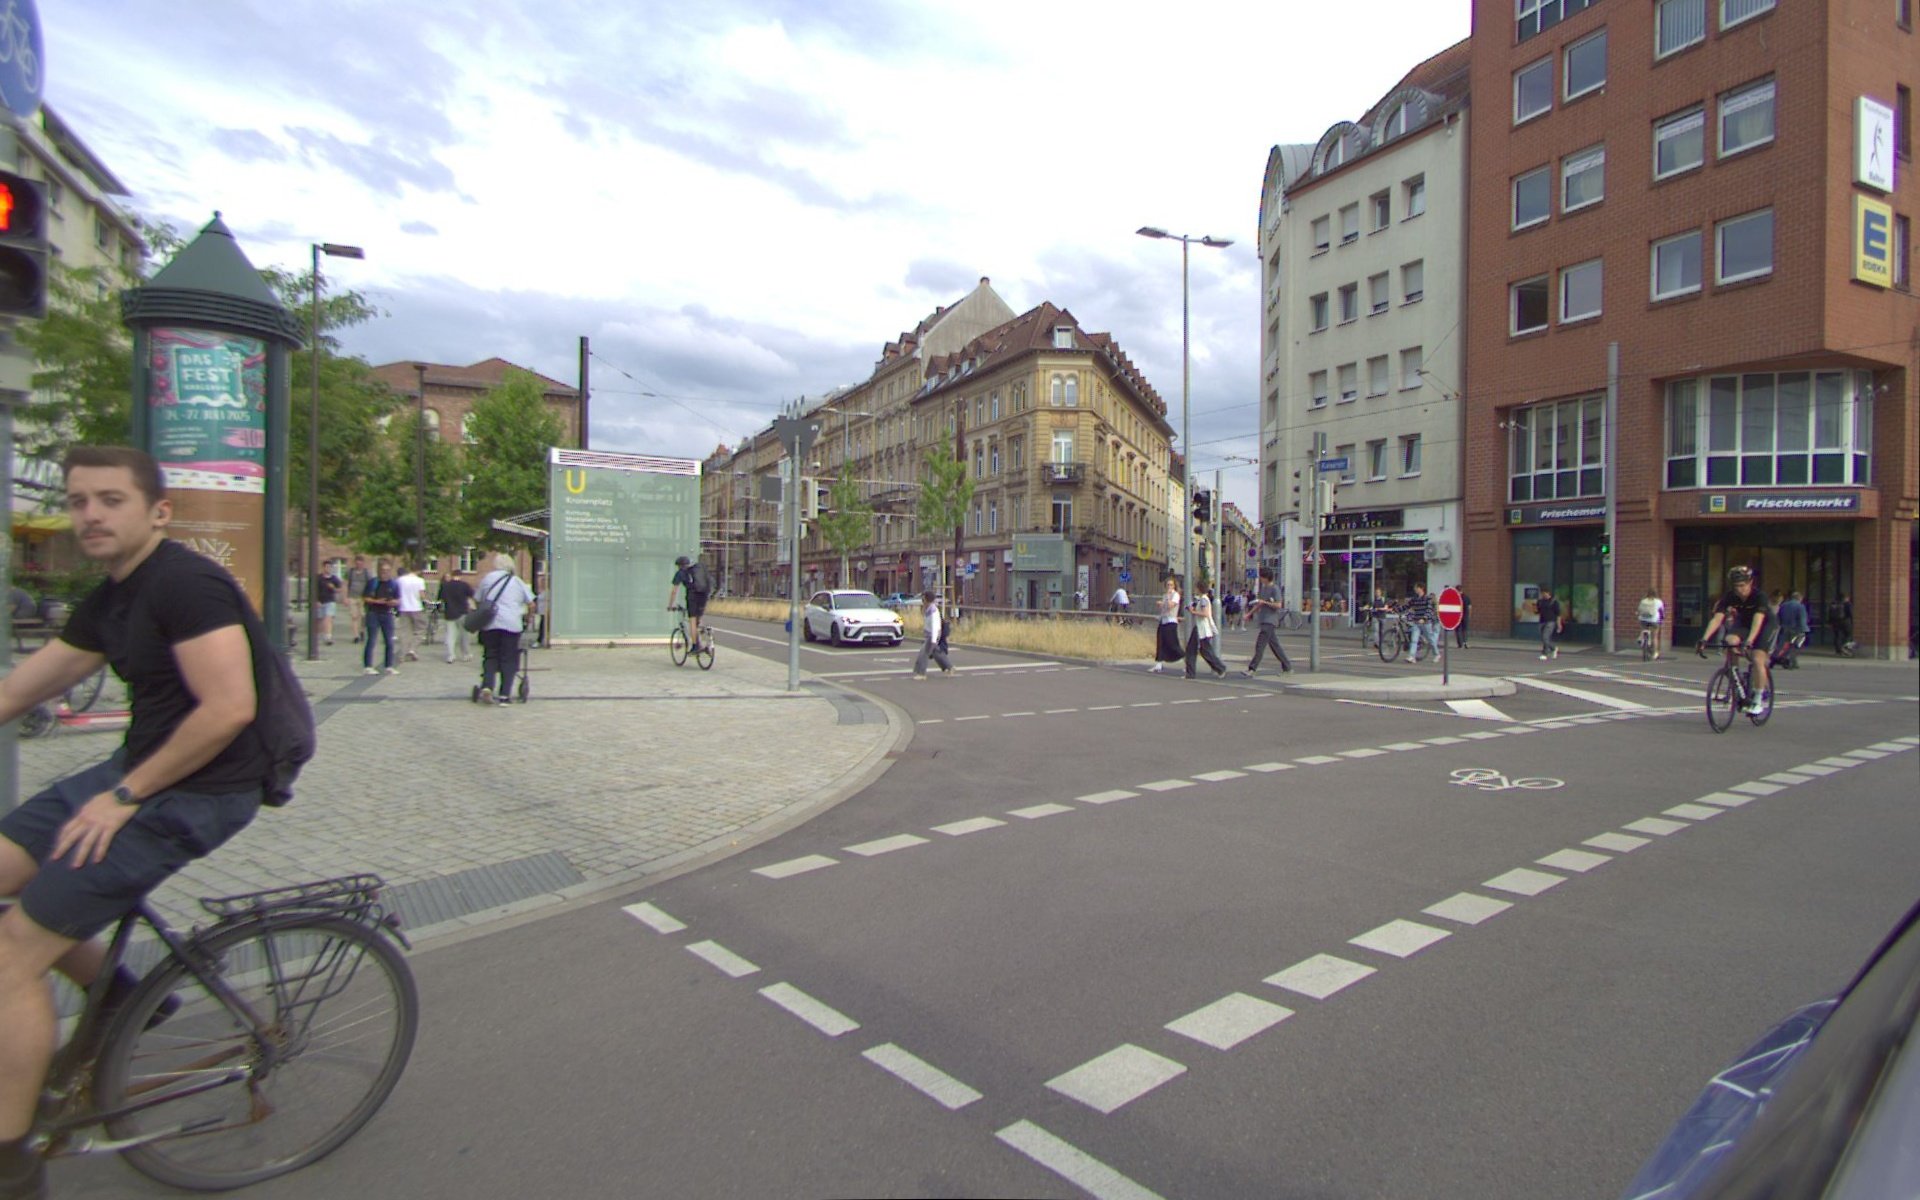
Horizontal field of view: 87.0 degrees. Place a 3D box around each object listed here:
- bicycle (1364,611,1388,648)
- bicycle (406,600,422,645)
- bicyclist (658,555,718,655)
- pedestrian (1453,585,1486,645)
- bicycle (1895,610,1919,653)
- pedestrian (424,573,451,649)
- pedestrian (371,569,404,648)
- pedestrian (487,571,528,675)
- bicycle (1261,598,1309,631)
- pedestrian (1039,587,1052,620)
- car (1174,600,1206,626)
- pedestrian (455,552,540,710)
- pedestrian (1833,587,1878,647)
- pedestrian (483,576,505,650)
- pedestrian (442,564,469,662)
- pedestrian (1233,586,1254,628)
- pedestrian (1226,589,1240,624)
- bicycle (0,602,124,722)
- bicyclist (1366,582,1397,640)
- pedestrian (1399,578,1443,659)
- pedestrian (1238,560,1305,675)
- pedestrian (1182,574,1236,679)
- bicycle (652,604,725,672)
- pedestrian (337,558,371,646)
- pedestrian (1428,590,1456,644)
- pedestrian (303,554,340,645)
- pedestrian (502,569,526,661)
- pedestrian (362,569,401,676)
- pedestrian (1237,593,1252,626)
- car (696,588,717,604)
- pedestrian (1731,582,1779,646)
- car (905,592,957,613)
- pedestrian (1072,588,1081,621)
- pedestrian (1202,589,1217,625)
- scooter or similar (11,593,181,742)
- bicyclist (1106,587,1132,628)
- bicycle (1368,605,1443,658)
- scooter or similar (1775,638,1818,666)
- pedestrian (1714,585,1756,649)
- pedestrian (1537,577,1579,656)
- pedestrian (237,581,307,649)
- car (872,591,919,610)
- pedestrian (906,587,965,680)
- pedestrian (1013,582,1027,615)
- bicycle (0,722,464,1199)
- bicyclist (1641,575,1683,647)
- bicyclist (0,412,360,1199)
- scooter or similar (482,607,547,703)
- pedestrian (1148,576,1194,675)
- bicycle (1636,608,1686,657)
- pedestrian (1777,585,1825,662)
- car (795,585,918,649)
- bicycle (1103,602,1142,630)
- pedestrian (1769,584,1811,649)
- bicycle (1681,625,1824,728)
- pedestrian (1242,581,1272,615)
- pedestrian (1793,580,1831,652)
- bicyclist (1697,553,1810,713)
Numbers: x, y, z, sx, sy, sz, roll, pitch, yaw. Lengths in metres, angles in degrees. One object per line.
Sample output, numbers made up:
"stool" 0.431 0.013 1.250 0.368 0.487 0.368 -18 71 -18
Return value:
"bicycle" 11.628 0.812 28.264 0.537 0.962 1.791 0 0 26
"bicycle" -12.510 0.506 23.174 0.284 1.009 1.141 0 0 -30
"bicyclist" -4.867 0.088 18.104 0.688 1.731 0.905 1 0 -44
"pedestrian" 14.501 0.417 28.816 0.696 1.669 0.718 0 -1 13
"bicycle" 26.332 0.845 27.618 1.663 1.105 0.568 -1 3 -25
"pedestrian" -12.069 0.243 23.367 0.469 1.726 0.640 2 -1 -29
"pedestrian" -12.814 0.185 22.663 0.573 1.726 0.640 2 -1 -29
"pedestrian" -7.673 0.384 17.159 0.614 1.702 0.807 0 -2 -26
"bicycle" 12.686 0.556 39.549 0.532 1.219 1.807 1 0 -34
"pedestrian" 4.435 0.198 52.277 0.504 1.706 0.425 1 0 -24
"car" 14.864 0.804 65.297 1.674 1.606 3.638 0 0 18
"pedestrian" -5.382 0.347 11.818 0.671 1.762 0.940 1 0 -11
"pedestrian" 24.672 0.459 27.888 0.903 1.621 0.621 1 0 -25
"pedestrian" -10.626 0.288 23.063 0.430 1.662 0.679 1 0 -25
"pedestrian" -9.322 0.233 18.705 0.406 1.759 0.702 1 0 -25
"pedestrian" 11.376 0.265 40.635 0.705 1.648 0.791 1 0 8
"pedestrian" 13.489 0.312 49.998 0.530 1.744 0.520 0 0 -4
"bicycle" -9.415 0.580 10.194 2.423 1.026 0.540 2 1 25
"bicyclist" 11.794 0.297 28.295 0.739 1.578 0.937 0 0 26
"pedestrian" 9.895 0.388 21.716 0.711 1.707 0.522 1 0 -24
"pedestrian" 5.248 0.292 17.046 0.859 1.878 0.642 1 -1 -25
"pedestrian" 4.153 0.434 16.878 0.780 1.707 0.470 0 0 -30
"bicycle" -4.890 0.649 18.126 0.385 1.136 1.915 1 0 -44
"pedestrian" -13.241 0.047 22.122 0.573 1.891 0.491 2 -1 -29
"pedestrian" 13.875 0.491 29.147 0.584 1.530 0.627 0 -1 13
"pedestrian" -13.499 0.000 21.405 0.573 1.891 0.549 2 -1 -29
"pedestrian" -8.703 0.281 19.758 0.406 1.759 0.596 1 0 -25
"pedestrian" -8.935 0.334 15.643 0.406 1.596 0.823 1 0 -23
"pedestrian" 14.094 0.469 50.090 0.572 1.657 0.545 0 0 -4
"car" -32.114 -0.501 128.132 1.958 1.928 4.005 0 -2 -24
"pedestrian" 22.149 0.377 28.204 1.034 1.736 0.650 0 0 -25
"car" -1.875 0.135 63.878 1.799 1.282 4.161 0 0 -25
"pedestrian" 6.099 0.230 53.106 0.417 1.706 0.514 1 0 8
"pedestrian" 12.369 0.345 50.182 0.580 1.744 0.520 0 0 -4
"scooter or similar" -7.565 0.556 8.892 0.285 1.228 1.109 0 0 42
"bicyclist" 6.376 0.299 40.594 0.630 1.623 0.863 1 0 -31
"bicycle" 9.781 0.683 22.189 1.792 1.124 0.398 0 0 -24
"scooter or similar" 18.457 1.136 22.336 0.800 0.581 0.509 0 0 -32
"pedestrian" 20.593 0.438 26.903 0.874 1.672 0.543 1 -1 -25
"pedestrian" 14.272 0.390 24.158 0.681 1.847 0.570 1 -1 -25
"pedestrian" -13.333 0.296 19.640 0.915 1.261 1.036 0 -2 -22
"car" -4.483 0.005 69.691 1.799 1.282 4.161 0 0 -25
"pedestrian" -0.414 0.554 17.348 0.832 1.519 0.552 -2 1 -41
"pedestrian" 3.090 -0.079 52.281 0.594 1.706 0.733 -3 0 -1
"bicycle" -2.237 0.953 2.273 1.982 1.136 0.406 -1 0 -42
"bicyclist" 17.160 0.259 24.734 0.847 1.731 0.642 1 0 -38
"bicyclist" -1.937 0.485 2.384 0.846 1.731 0.560 1 0 -35
"scooter or similar" -5.516 0.668 12.557 0.596 1.124 0.703 1 1 -12
"pedestrian" 3.760 0.433 18.031 0.629 1.717 0.699 0 -1 28
"bicycle" 17.215 0.776 24.824 2.038 1.136 0.391 -1 1 -37
"pedestrian" 18.966 0.514 22.834 0.588 1.709 0.642 1 -1 -25
"car" -2.881 0.380 27.175 1.959 1.531 4.612 -1 1 -24
"bicycle" 6.518 0.627 40.611 0.384 1.101 1.921 1 0 -31
"pedestrian" 22.457 0.439 27.373 0.637 1.710 0.650 -1 0 -25
"bicycle" 8.479 0.791 10.816 1.711 1.013 0.490 0 0 -25
"pedestrian" 16.348 -0.125 55.785 1.110 1.852 1.165 0 0 -34
"pedestrian" 21.710 0.407 25.794 0.549 1.820 0.543 1 -1 -25
"bicyclist" 8.425 0.327 10.756 0.829 1.623 0.615 0 1 -25
